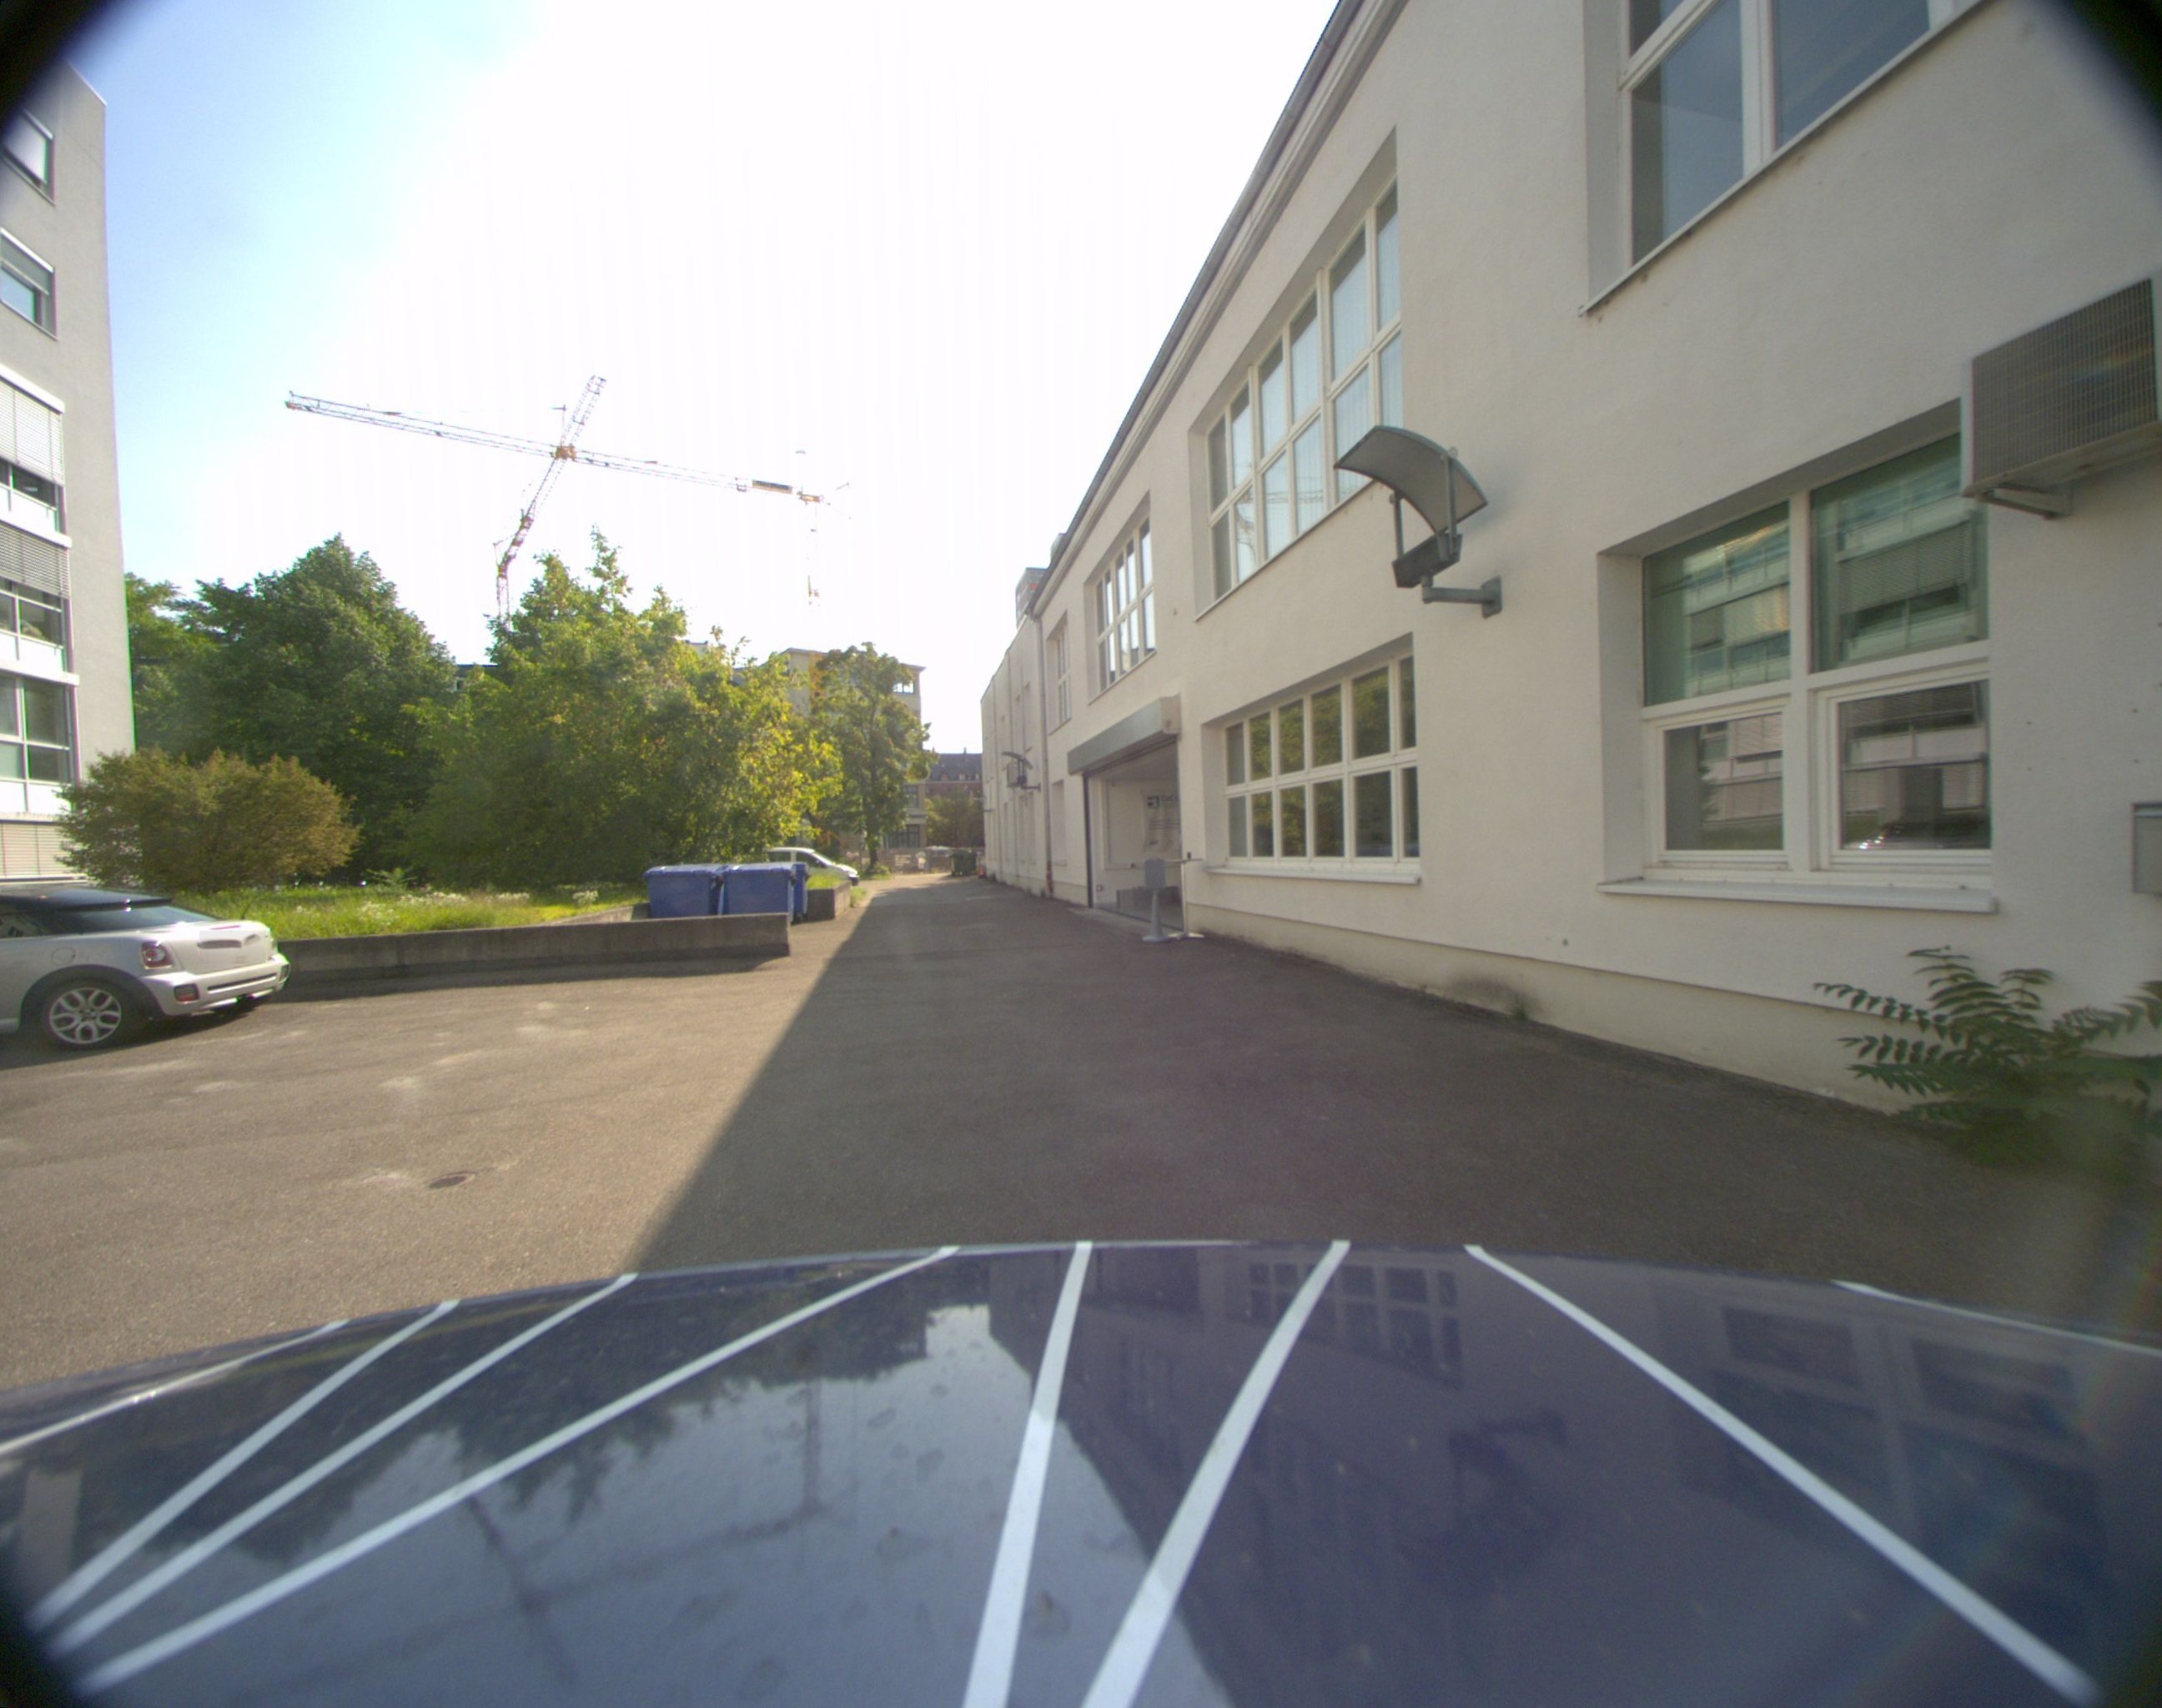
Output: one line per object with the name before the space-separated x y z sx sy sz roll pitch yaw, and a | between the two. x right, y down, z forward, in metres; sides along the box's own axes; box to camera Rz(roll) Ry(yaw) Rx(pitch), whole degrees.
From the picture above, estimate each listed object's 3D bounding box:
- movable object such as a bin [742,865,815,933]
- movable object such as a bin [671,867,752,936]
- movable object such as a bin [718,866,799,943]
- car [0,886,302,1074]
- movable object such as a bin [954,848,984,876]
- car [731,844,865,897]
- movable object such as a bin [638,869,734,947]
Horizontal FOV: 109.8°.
movable object such as a bin | -6.471 0.931 16.358 1.201 1.320 1.273 -3 1 -12
movable object such as a bin | -7.782 0.975 16.073 1.201 1.320 1.273 -3 1 -12
movable object such as a bin | -6.229 0.945 14.780 1.215 1.343 1.273 -3 1 -14
car | -9.823 1.116 6.792 3.584 1.429 1.656 -2 1 -16
movable object such as a bin | -6.189 0.406 41.872 1.526 1.457 1.273 -3 1 -13
car | -11.422 0.631 31.001 4.794 1.920 1.907 -2 1 -11
movable object such as a bin | -7.492 0.986 14.498 1.258 1.320 1.273 -3 1 -12
